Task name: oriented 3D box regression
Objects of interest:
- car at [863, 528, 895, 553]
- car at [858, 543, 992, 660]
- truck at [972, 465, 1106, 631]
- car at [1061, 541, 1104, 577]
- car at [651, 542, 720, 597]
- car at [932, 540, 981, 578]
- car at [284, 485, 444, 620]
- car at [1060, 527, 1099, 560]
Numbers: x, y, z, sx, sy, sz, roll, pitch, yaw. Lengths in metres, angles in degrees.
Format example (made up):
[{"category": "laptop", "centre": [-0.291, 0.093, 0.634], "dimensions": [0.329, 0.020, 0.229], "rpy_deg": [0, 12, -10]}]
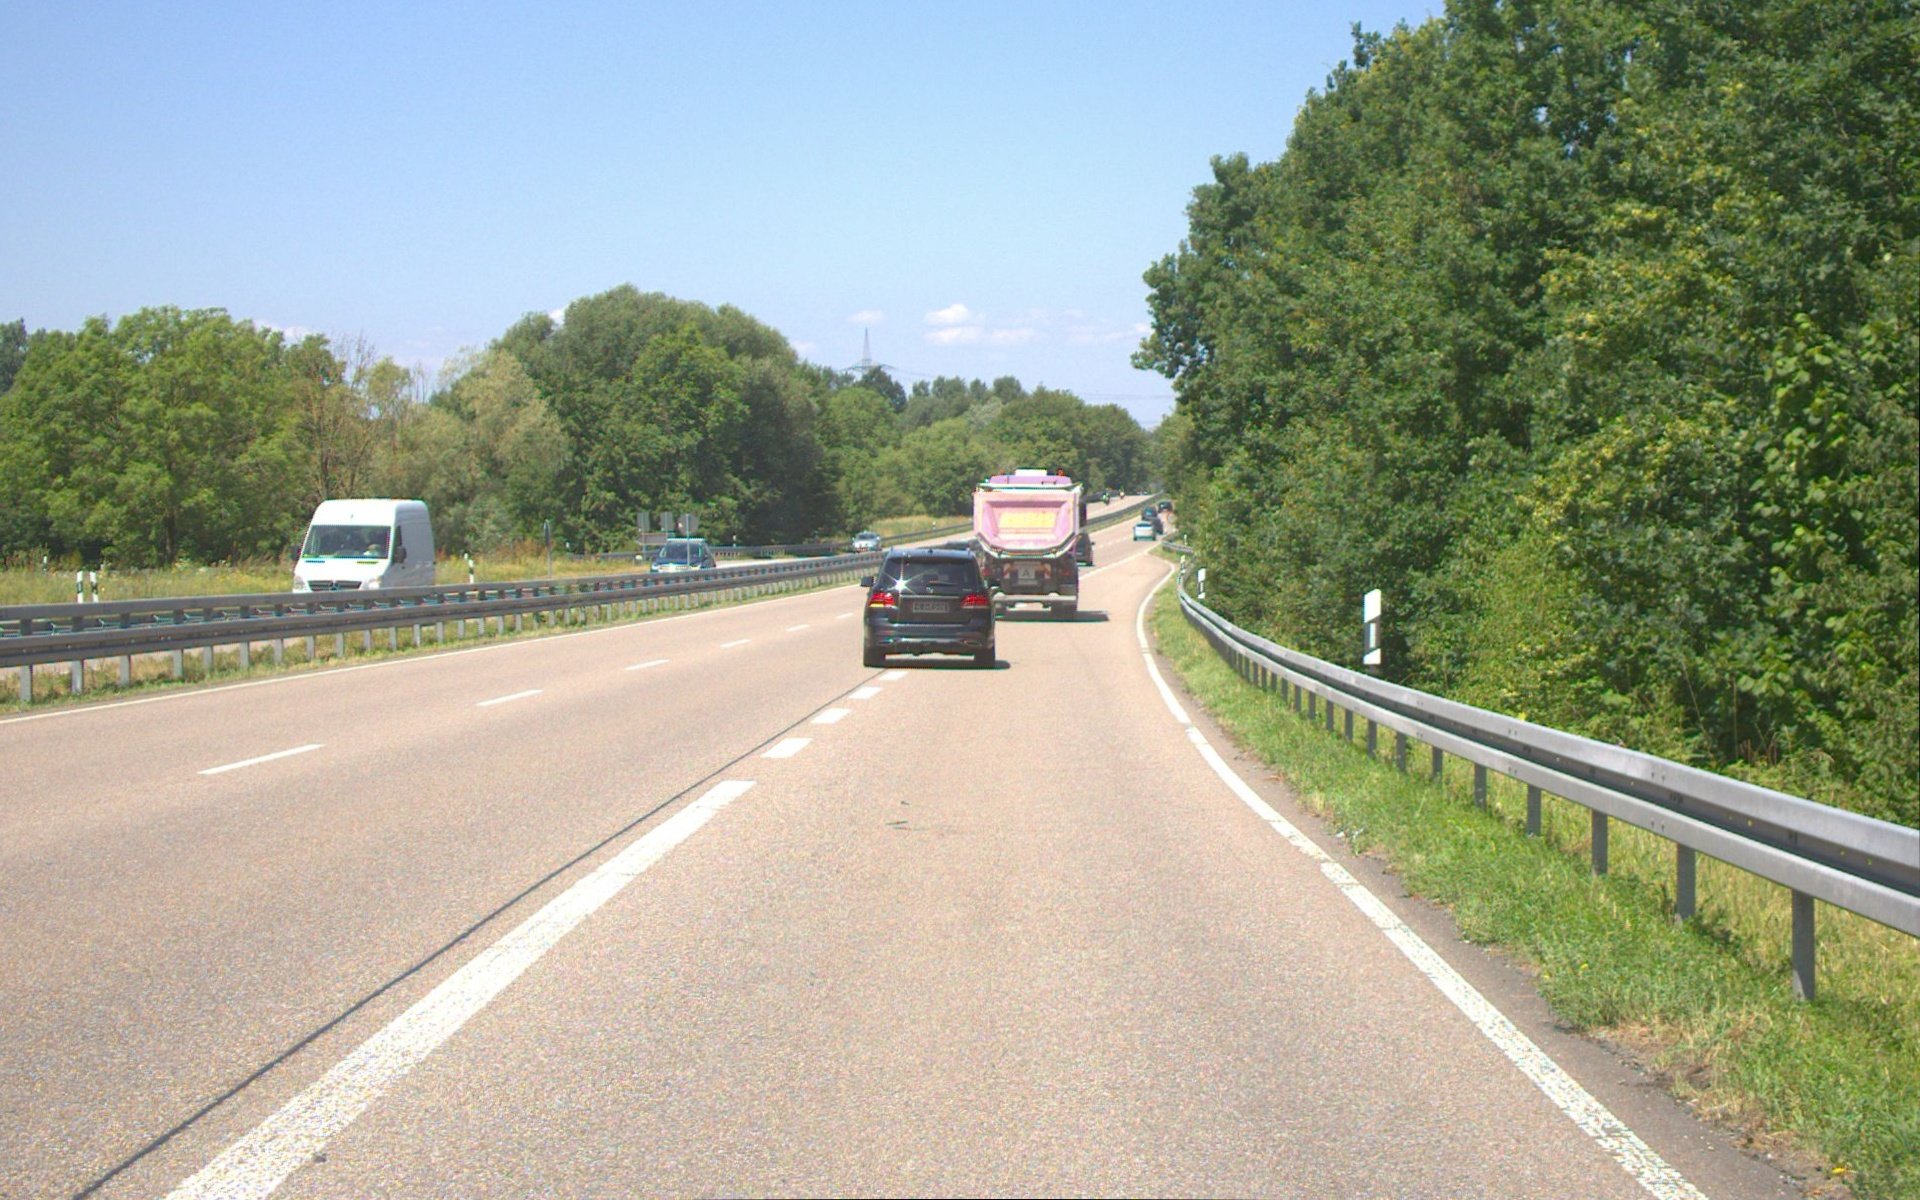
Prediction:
[{"category": "car", "centre": [-5.573, -4.098, 236.444], "dimensions": [1.724, 1.639, 4.942], "rpy_deg": [1, 1, 4]}, {"category": "car", "centre": [-0.481, -0.007, 51.271], "dimensions": [1.857, 1.665, 4.000], "rpy_deg": [1, 1, 1]}, {"category": "truck", "centre": [2.134, -1.479, 87.703], "dimensions": [2.721, 3.916, 12.369], "rpy_deg": [0, 2, 4]}, {"category": "car", "centre": [5.804, -1.943, 163.104], "dimensions": [1.858, 1.665, 3.999], "rpy_deg": [1, 1, 4]}, {"category": "car", "centre": [-9.376, -1.050, 117.824], "dimensions": [1.863, 1.824, 4.660], "rpy_deg": [1, 1, 2]}, {"category": "car", "centre": [-0.146, -1.831, 154.357], "dimensions": [1.858, 1.665, 3.999], "rpy_deg": [1, 1, 4]}, {"category": "car", "centre": [-12.377, -0.987, 71.853], "dimensions": [2.102, 2.673, 6.628], "rpy_deg": [1, 1, 1]}, {"category": "car", "centre": [6.184, -2.925, 177.371], "dimensions": [1.858, 1.665, 3.999], "rpy_deg": [1, 1, 4]}]
